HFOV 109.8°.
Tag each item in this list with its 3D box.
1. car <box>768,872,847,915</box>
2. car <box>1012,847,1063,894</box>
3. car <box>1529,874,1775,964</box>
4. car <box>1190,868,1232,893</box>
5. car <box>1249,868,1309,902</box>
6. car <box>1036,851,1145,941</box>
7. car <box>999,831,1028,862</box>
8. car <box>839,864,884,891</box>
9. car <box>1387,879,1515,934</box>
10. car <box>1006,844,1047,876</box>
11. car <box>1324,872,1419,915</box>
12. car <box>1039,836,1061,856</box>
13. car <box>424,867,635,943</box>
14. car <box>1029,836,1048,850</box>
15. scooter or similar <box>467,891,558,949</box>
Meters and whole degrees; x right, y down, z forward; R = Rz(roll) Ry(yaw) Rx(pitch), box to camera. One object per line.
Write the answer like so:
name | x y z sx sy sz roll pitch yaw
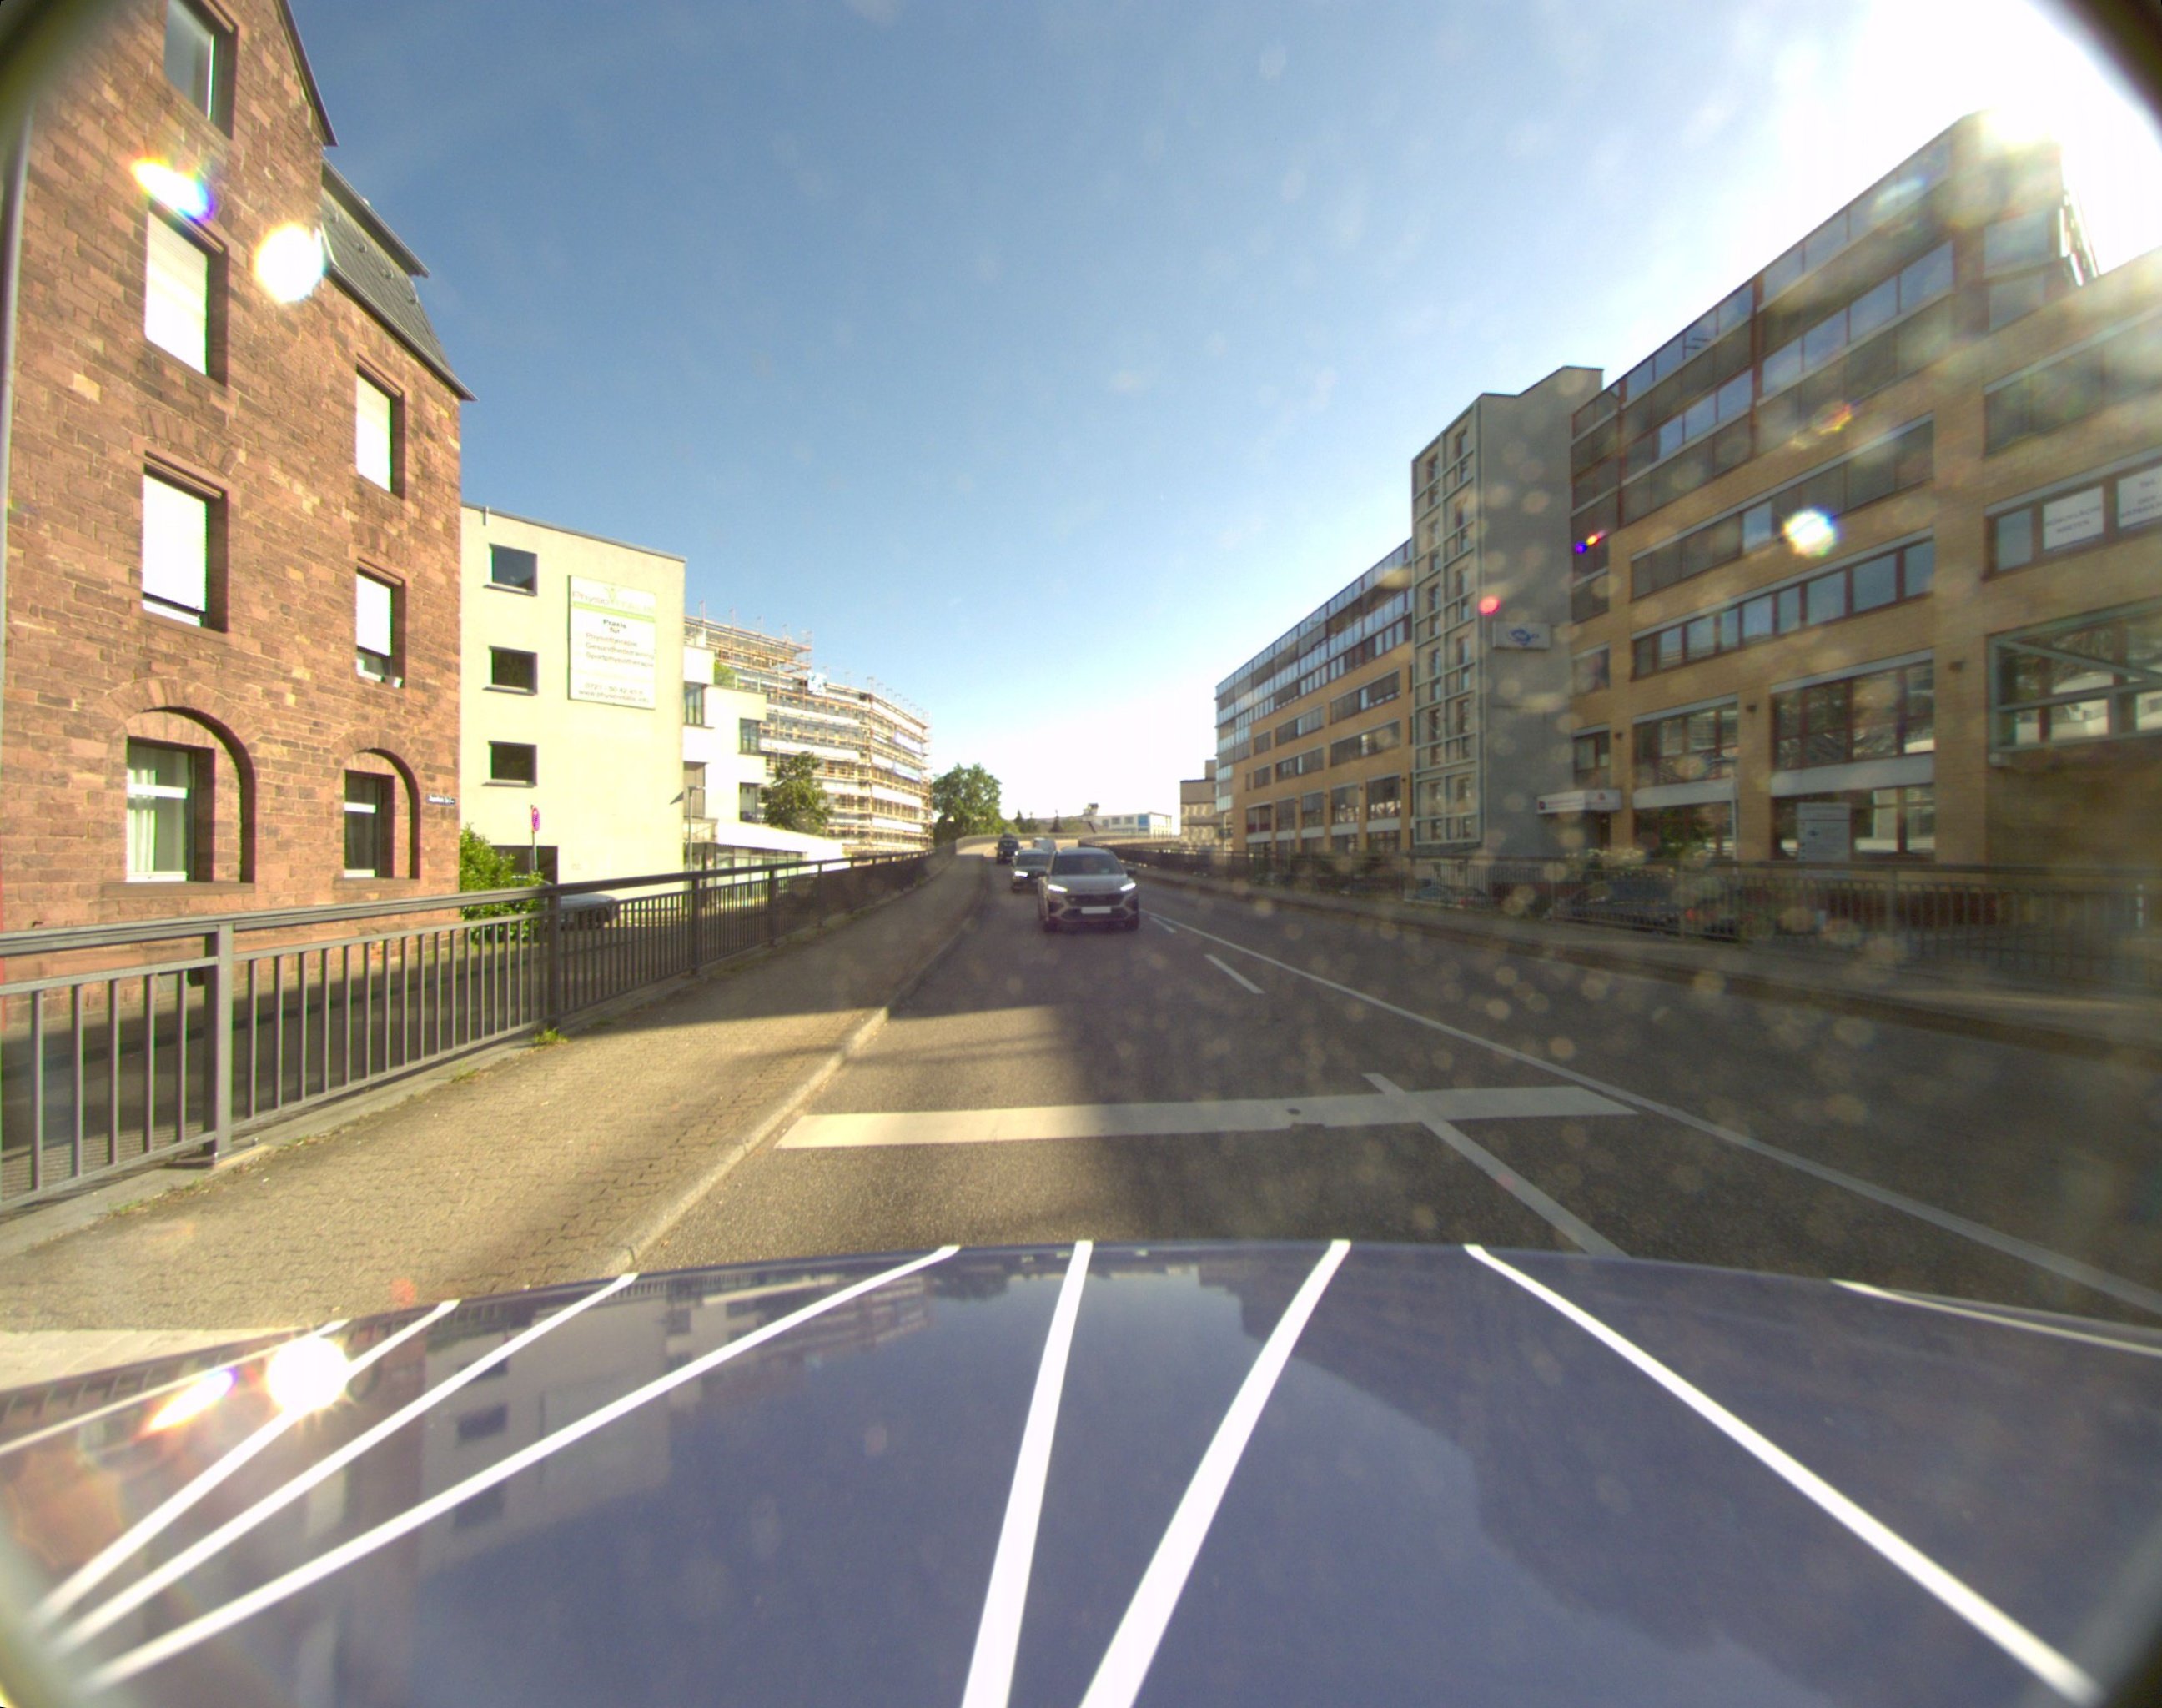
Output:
car | -11.380 1.600 31.972 1.849 1.422 4.679 -1 1 -3
car | -1.629 0.542 27.922 1.722 1.483 4.166 -1 1 -4
car | 13.425 1.419 18.328 1.957 1.747 4.684 -1 0 -9
car | 9.120 1.831 53.541 1.999 1.652 3.998 0 0 -4
car | 10.758 1.661 41.664 1.999 1.714 3.998 0 0 -4
car | 0.058 0.746 15.782 1.850 1.561 4.218 -1 1 -5
car | -5.157 -0.573 57.518 1.911 2.201 4.594 -1 1 -8
car | -13.185 1.390 45.830 1.850 1.526 3.998 0 0 -4
car | 12.478 1.702 25.968 1.826 1.594 4.354 0 0 -7
car | -2.973 0.280 40.659 1.850 1.527 4.504 -1 1 -8
car | 11.910 1.582 31.510 1.826 1.594 4.354 0 0 -7
car | -2.895 -0.684 69.291 1.815 1.791 5.118 0 0 -5
car | -15.809 1.362 21.968 4.658 1.757 1.823 -2 2 -45
car | -4.763 -1.226 84.372 1.826 1.594 3.997 0 1 -7
scooter or similar | -13.303 1.524 17.823 1.462 1.212 0.784 -3 0 -11
